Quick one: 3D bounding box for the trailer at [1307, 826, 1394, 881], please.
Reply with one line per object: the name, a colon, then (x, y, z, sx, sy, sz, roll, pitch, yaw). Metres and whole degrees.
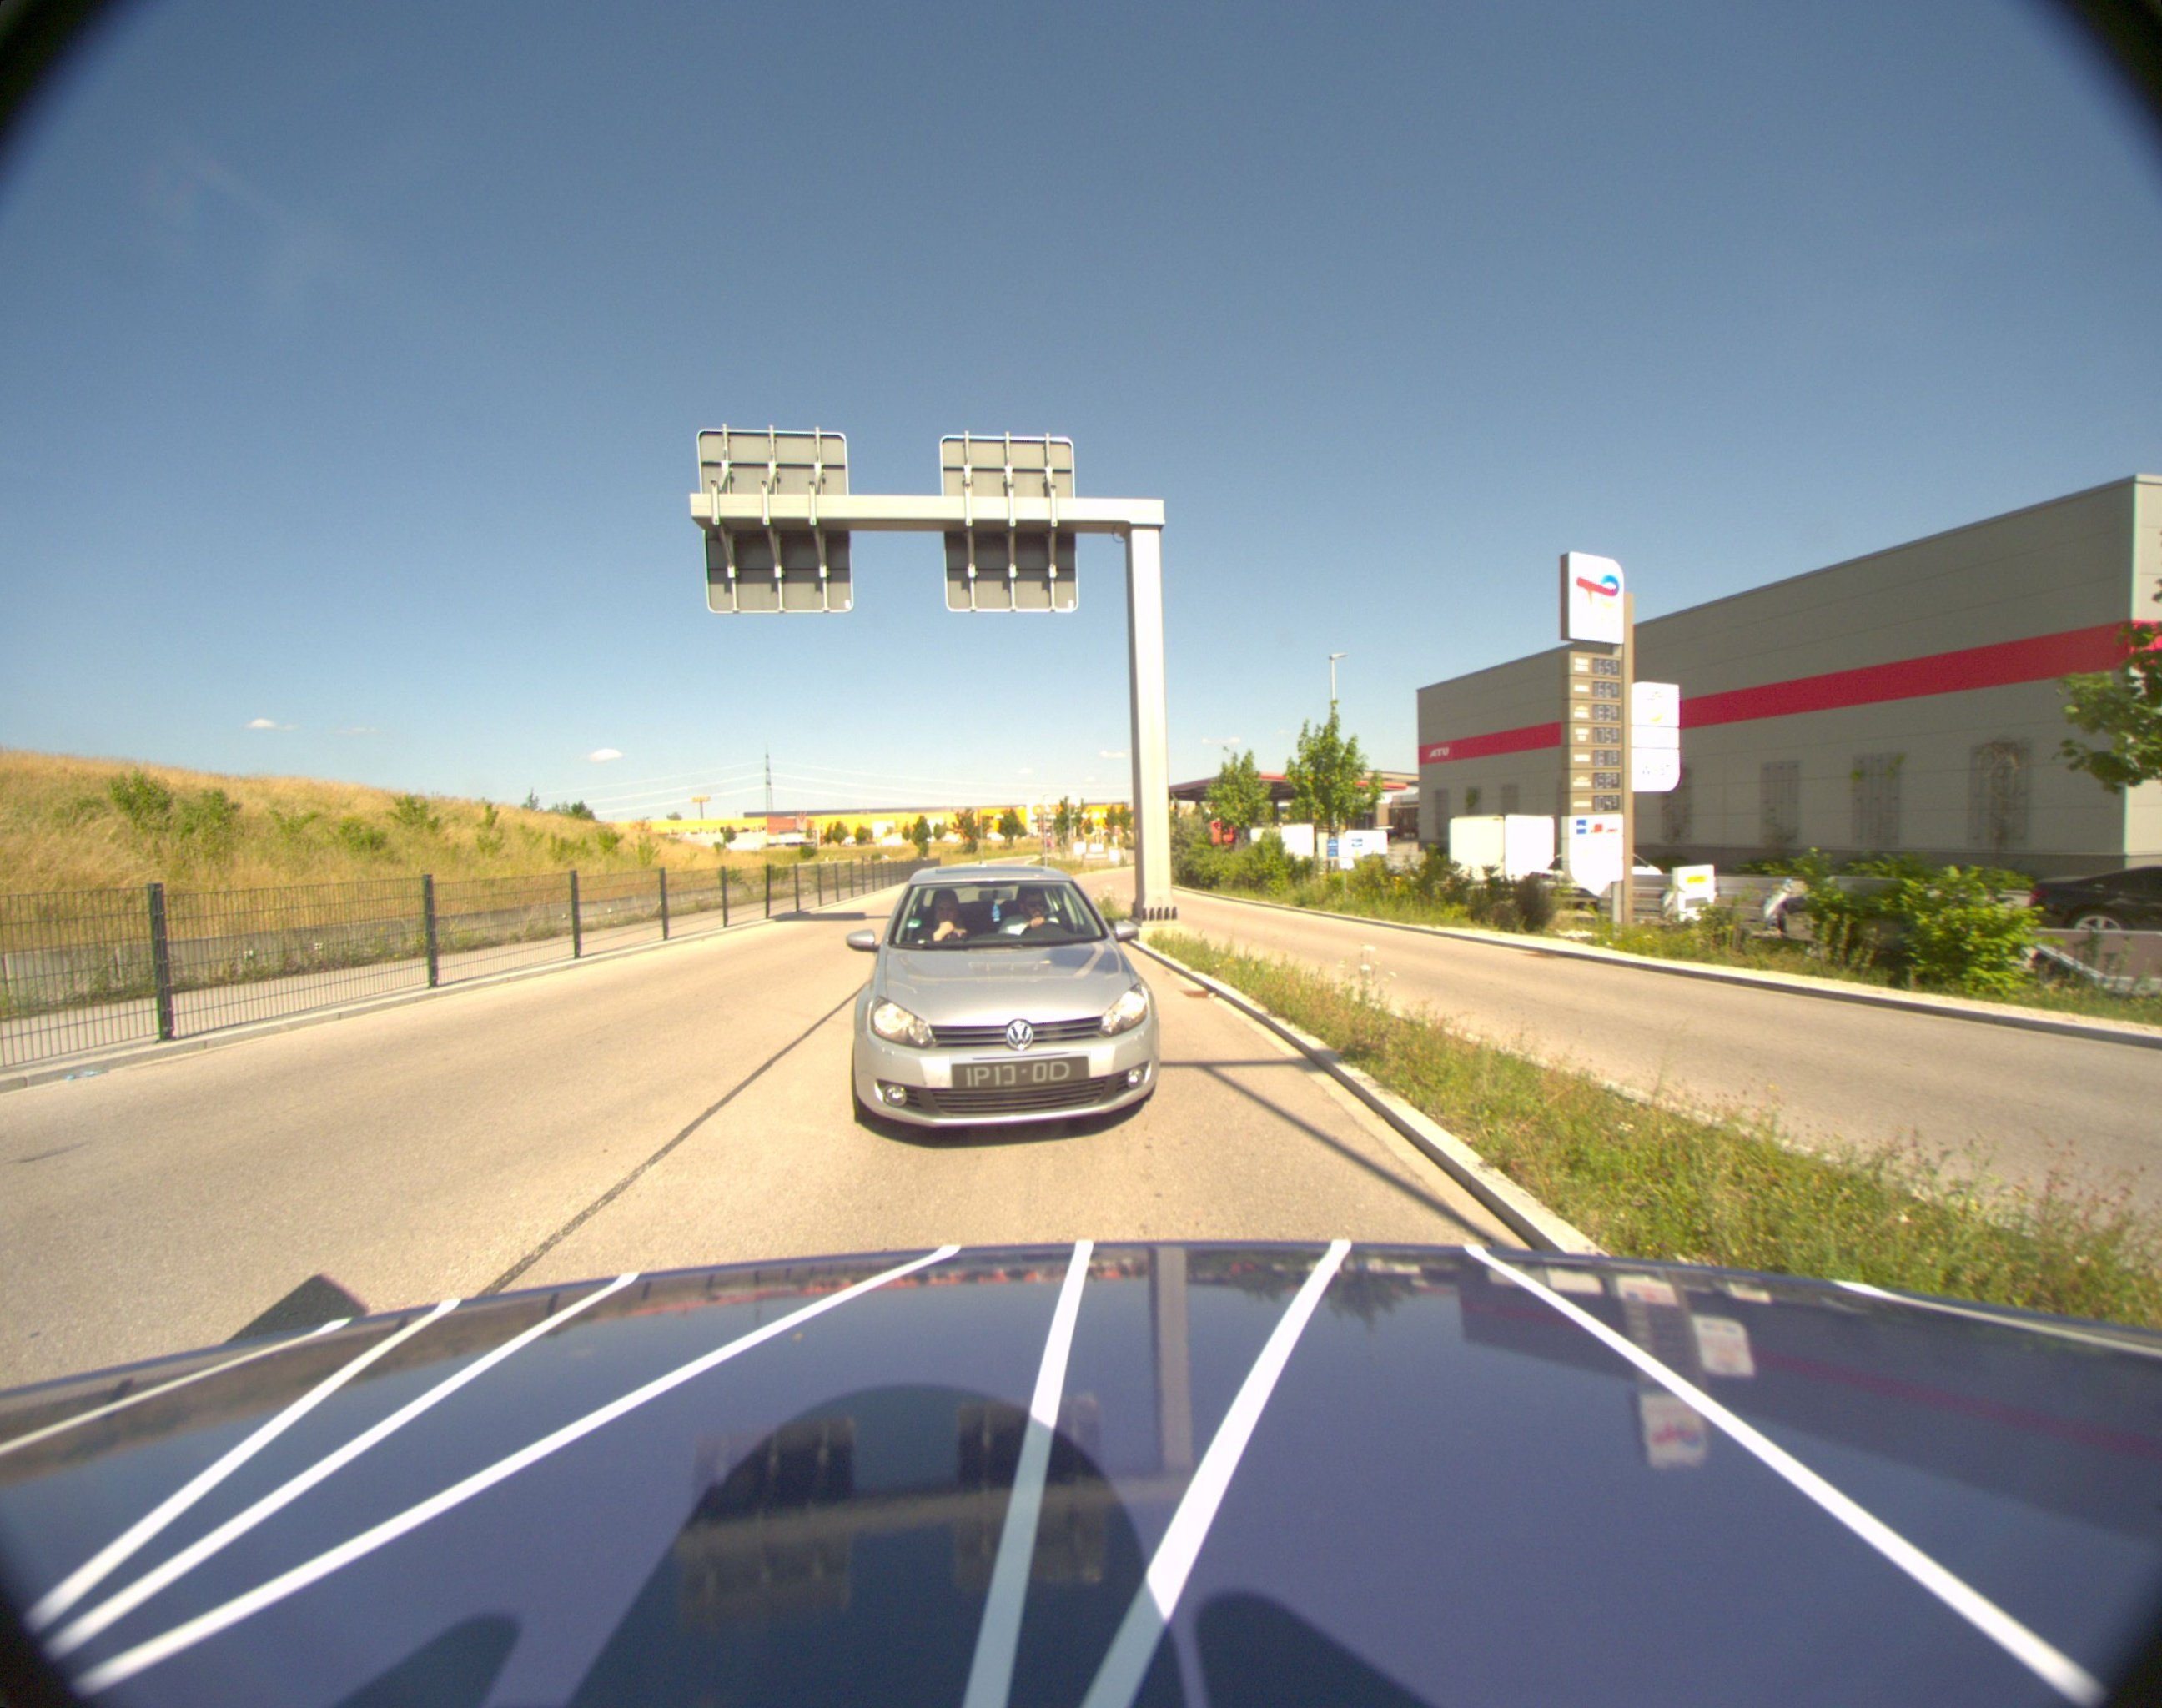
trailer: (10.707, -0.047, 30.195, 2.741, 2.002, 1.995, -4, 2, -34)

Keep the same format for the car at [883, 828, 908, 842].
car: (-36.619, -3.662, 149.883, 4.637, 2.534, 1.998, -3, 2, -11)

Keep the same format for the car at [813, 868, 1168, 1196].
car: (-0.689, 0.901, 5.745, 1.747, 1.459, 3.957, 0, 1, -8)

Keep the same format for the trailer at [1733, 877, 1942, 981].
trailer: (12.291, 1.135, 12.352, 2.915, 1.314, 1.387, -3, 2, -22)

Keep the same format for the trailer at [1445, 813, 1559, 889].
trailer: (12.323, -0.122, 22.190, 3.245, 2.002, 1.743, -4, 2, -38)

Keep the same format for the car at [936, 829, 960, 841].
car: (-26.485, -3.771, 151.448, 4.637, 2.002, 1.998, -3, 2, -11)

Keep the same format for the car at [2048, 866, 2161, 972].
car: (17.162, 0.997, 10.453, 1.803, 1.475, 4.494, -3, 1, -6)

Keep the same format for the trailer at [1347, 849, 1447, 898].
trailer: (11.546, 0.676, 27.722, 3.605, 1.502, 1.596, -4, 1, -34)

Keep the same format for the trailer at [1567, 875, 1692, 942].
trailer: (11.324, 1.066, 15.659, 2.780, 1.080, 1.317, -4, 2, -37)

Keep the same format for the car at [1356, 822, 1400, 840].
car: (29.163, -2.284, 74.646, 3.683, 1.566, 1.695, -3, 2, -1)

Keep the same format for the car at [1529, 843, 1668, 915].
car: (13.497, 0.575, 19.752, 4.006, 1.527, 1.714, -4, 2, -36)

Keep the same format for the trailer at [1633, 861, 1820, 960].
trailer: (11.973, 0.962, 14.086, 3.195, 1.475, 1.545, -3, 2, -28)

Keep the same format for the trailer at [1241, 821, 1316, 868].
trailer: (9.252, -0.459, 35.456, 1.994, 2.002, 3.212, -1, 2, 44)

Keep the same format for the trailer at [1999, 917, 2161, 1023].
trailer: (13.396, 1.448, 9.860, 2.842, 0.877, 1.861, -4, 2, -39)

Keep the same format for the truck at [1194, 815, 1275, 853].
truck: (14.408, -1.890, 71.363, 6.910, 3.300, 2.637, -3, 2, -17)

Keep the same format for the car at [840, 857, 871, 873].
car: (-31.829, 1.543, 107.250, 4.000, 2.002, 1.998, -2, 1, -10)
